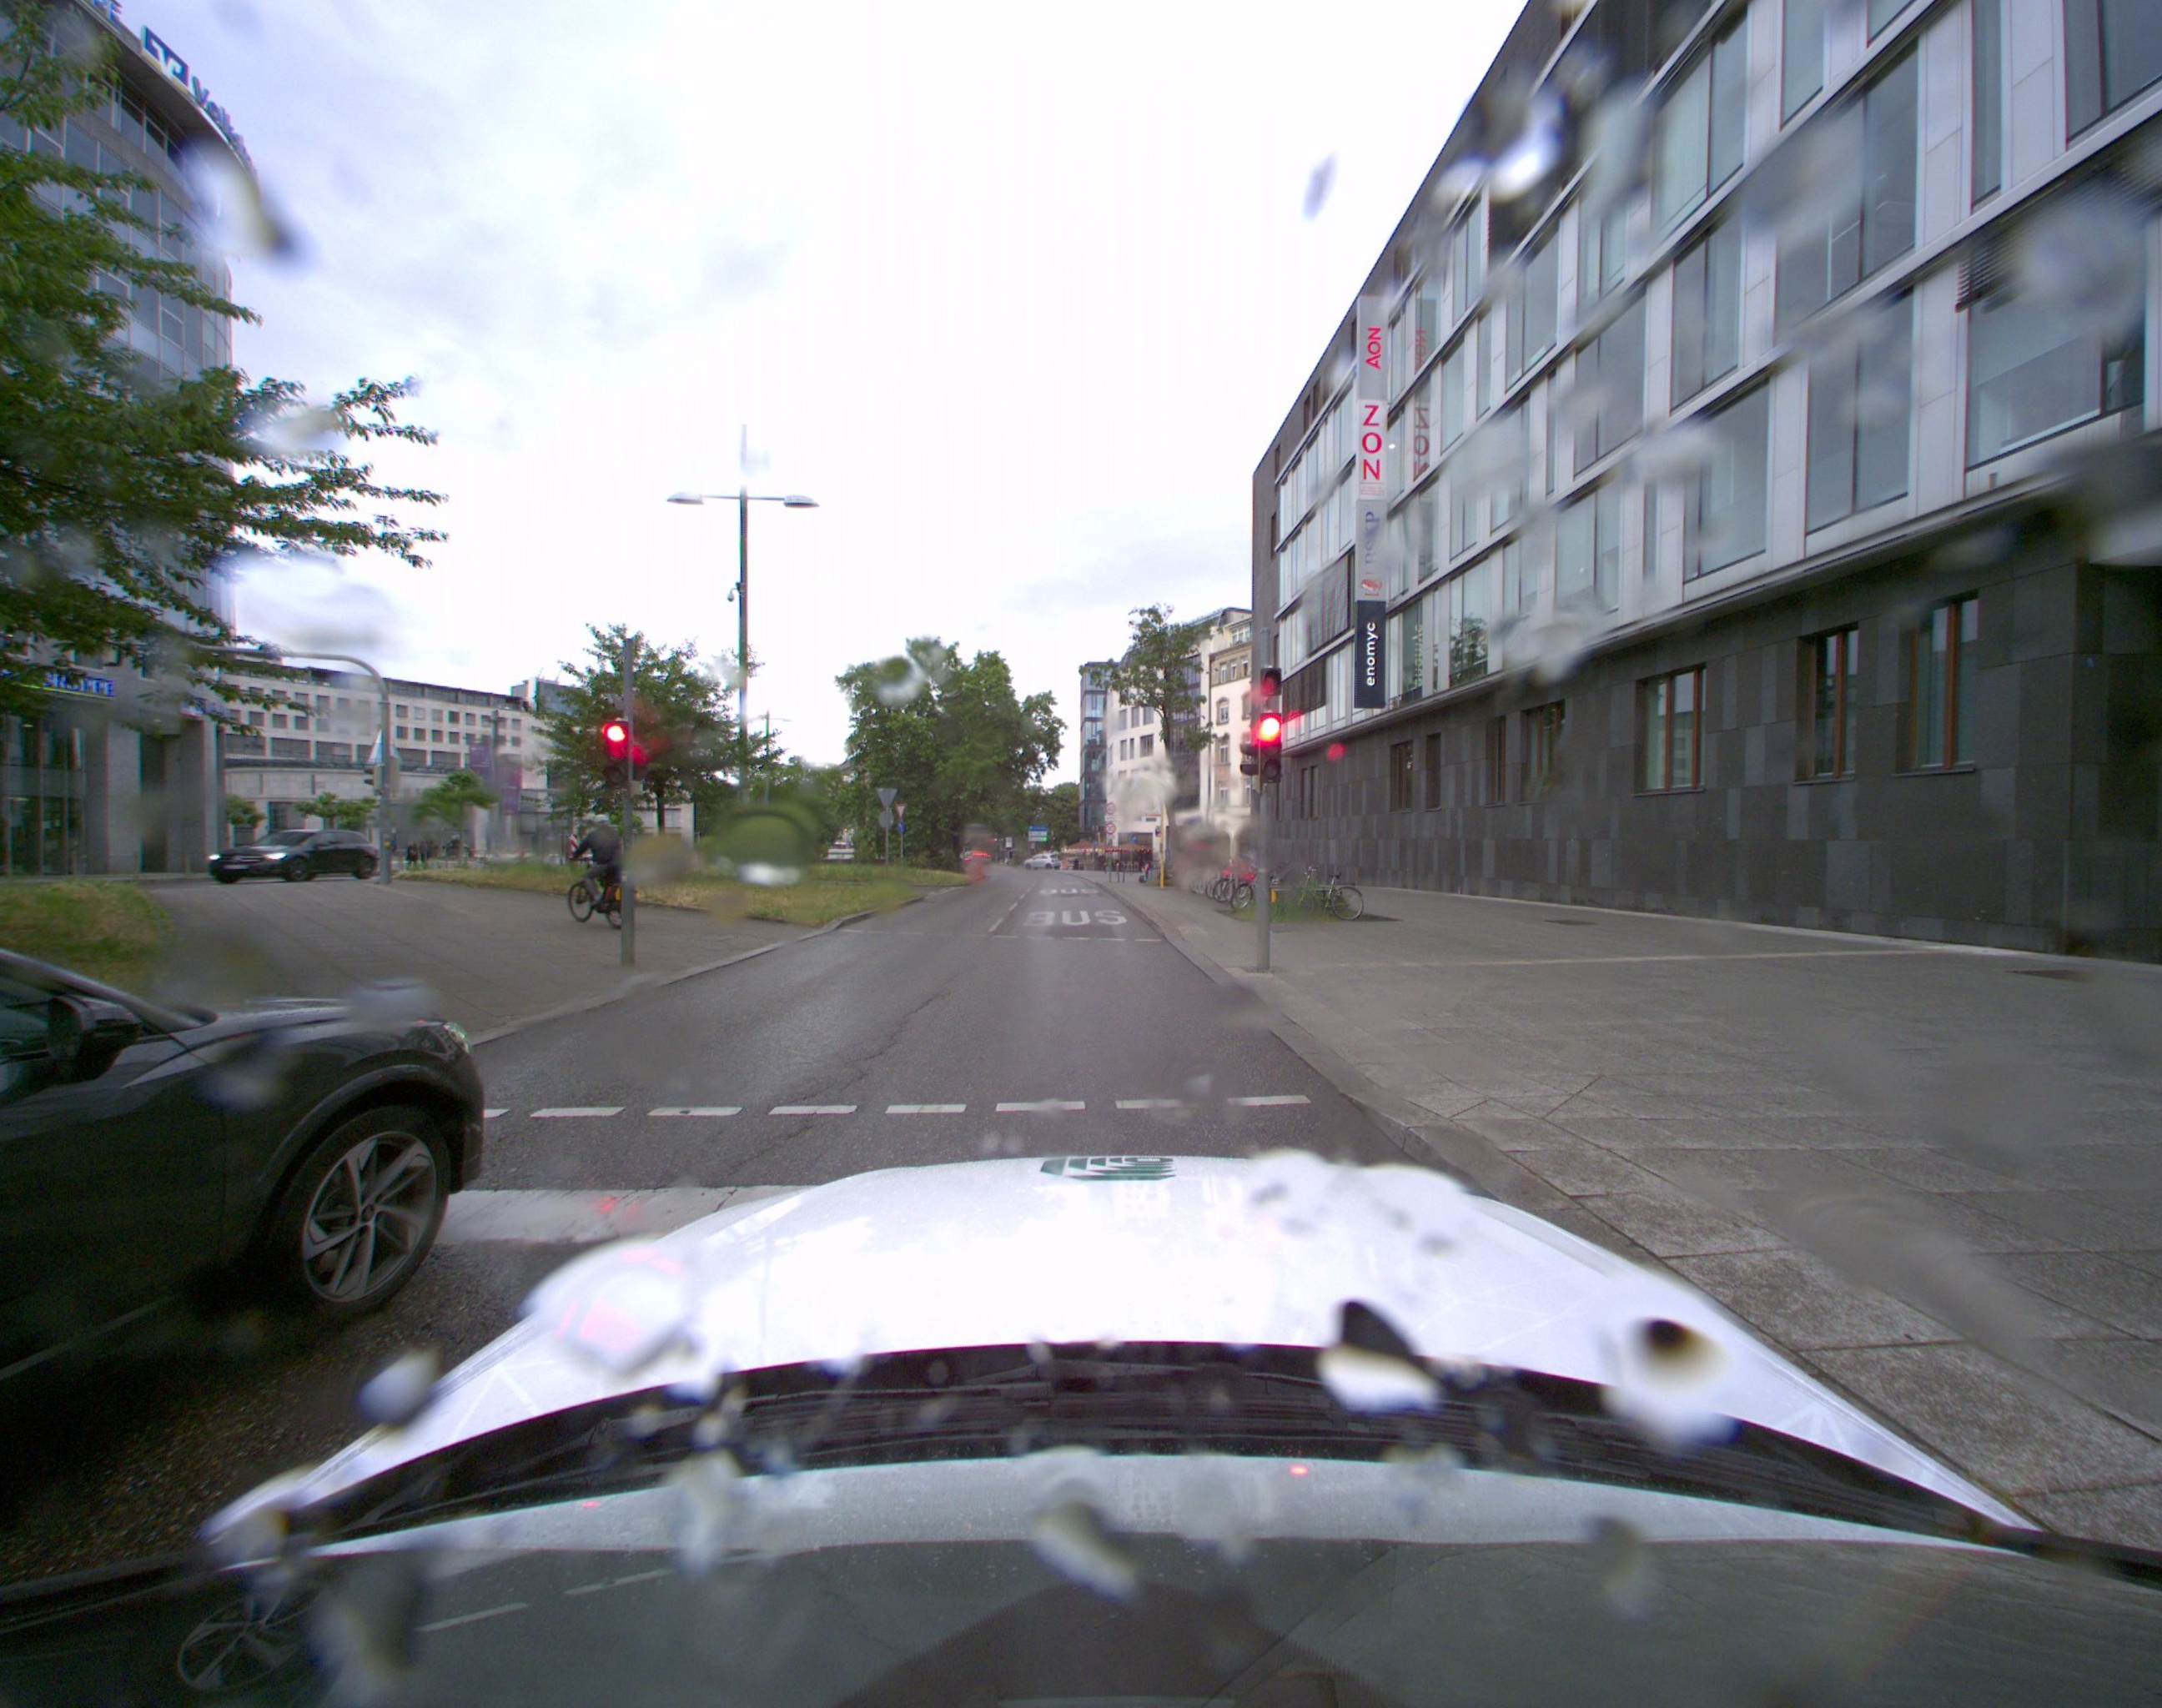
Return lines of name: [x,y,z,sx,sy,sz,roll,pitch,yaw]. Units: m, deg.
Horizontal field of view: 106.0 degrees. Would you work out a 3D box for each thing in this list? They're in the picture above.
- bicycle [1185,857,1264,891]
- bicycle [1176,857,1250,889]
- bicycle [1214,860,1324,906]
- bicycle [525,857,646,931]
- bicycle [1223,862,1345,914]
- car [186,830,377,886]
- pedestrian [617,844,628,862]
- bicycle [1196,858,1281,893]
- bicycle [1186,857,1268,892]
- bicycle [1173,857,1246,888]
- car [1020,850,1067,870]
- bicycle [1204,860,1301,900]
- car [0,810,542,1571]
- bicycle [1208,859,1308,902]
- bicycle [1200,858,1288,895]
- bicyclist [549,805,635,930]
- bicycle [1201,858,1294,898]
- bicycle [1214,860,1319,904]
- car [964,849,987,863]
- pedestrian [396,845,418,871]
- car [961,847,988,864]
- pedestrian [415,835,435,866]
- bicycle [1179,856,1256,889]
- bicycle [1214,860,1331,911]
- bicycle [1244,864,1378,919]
bicycle: [4.779,0.651,27.195,2.530,1.087,0.677,-1,0,-3]
bicycle: [4.660,0.653,28.835,2.530,1.087,0.677,-1,0,-3]
bicycle: [4.596,0.701,19.987,2.530,1.087,0.677,-1,0,-3]
bicycle: [-8.816,0.674,14.475,2.107,1.145,0.767,3,1,26]
bicycle: [4.450,0.737,17.960,2.530,1.087,0.677,0,0,-3]
car: [-23.978,0.118,24.711,1.803,1.486,4.372,2,0,-8]
pedestrian: [-50.930,-0.136,90.445,0.789,2.014,0.737,2,0,-11]
bicycle: [4.932,0.667,25.599,2.530,1.087,0.677,-1,0,-3]
bicycle: [4.720,0.667,26.444,2.530,1.087,0.677,-1,0,-3]
bicycle: [4.648,0.663,29.558,2.530,1.087,0.627,-1,0,-3]
car: [-3.606,0.572,78.047,3.951,1.647,2.012,4,0,28]
bicycle: [4.725,0.698,22.517,2.530,1.060,0.677,-1,0,-3]
car: [-3.193,0.707,1.373,1.843,1.616,4.249,1,1,-2]
bicycle: [4.691,0.696,21.651,2.530,1.087,0.677,-1,0,-3]
bicycle: [4.912,0.668,24.620,2.530,1.087,0.677,-1,0,-3]
bicyclist: [-8.628,0.216,14.386,1.072,2.082,0.767,3,1,26]
bicycle: [4.783,0.683,23.426,2.530,1.087,0.677,-1,0,-3]
bicycle: [4.722,0.700,20.839,2.530,1.087,0.677,-1,0,-3]
car: [-13.395,0.248,103.327,2.184,1.700,3.977,0,0,-17]
pedestrian: [-39.185,0.228,47.373,0.729,1.516,0.687,-2,0,-17]
car: [-11.536,0.140,87.981,2.167,1.706,4.528,0,0,-16]
pedestrian: [-38.585,-0.211,47.892,0.620,1.763,0.722,-2,0,-12]
bicycle: [4.683,0.641,28.087,2.530,1.087,0.677,-1,0,-3]
bicycle: [4.398,0.719,18.765,2.530,1.087,0.677,2,0,-3]
bicycle: [4.629,0.745,16.477,2.530,1.057,0.677,0,0,-3]
